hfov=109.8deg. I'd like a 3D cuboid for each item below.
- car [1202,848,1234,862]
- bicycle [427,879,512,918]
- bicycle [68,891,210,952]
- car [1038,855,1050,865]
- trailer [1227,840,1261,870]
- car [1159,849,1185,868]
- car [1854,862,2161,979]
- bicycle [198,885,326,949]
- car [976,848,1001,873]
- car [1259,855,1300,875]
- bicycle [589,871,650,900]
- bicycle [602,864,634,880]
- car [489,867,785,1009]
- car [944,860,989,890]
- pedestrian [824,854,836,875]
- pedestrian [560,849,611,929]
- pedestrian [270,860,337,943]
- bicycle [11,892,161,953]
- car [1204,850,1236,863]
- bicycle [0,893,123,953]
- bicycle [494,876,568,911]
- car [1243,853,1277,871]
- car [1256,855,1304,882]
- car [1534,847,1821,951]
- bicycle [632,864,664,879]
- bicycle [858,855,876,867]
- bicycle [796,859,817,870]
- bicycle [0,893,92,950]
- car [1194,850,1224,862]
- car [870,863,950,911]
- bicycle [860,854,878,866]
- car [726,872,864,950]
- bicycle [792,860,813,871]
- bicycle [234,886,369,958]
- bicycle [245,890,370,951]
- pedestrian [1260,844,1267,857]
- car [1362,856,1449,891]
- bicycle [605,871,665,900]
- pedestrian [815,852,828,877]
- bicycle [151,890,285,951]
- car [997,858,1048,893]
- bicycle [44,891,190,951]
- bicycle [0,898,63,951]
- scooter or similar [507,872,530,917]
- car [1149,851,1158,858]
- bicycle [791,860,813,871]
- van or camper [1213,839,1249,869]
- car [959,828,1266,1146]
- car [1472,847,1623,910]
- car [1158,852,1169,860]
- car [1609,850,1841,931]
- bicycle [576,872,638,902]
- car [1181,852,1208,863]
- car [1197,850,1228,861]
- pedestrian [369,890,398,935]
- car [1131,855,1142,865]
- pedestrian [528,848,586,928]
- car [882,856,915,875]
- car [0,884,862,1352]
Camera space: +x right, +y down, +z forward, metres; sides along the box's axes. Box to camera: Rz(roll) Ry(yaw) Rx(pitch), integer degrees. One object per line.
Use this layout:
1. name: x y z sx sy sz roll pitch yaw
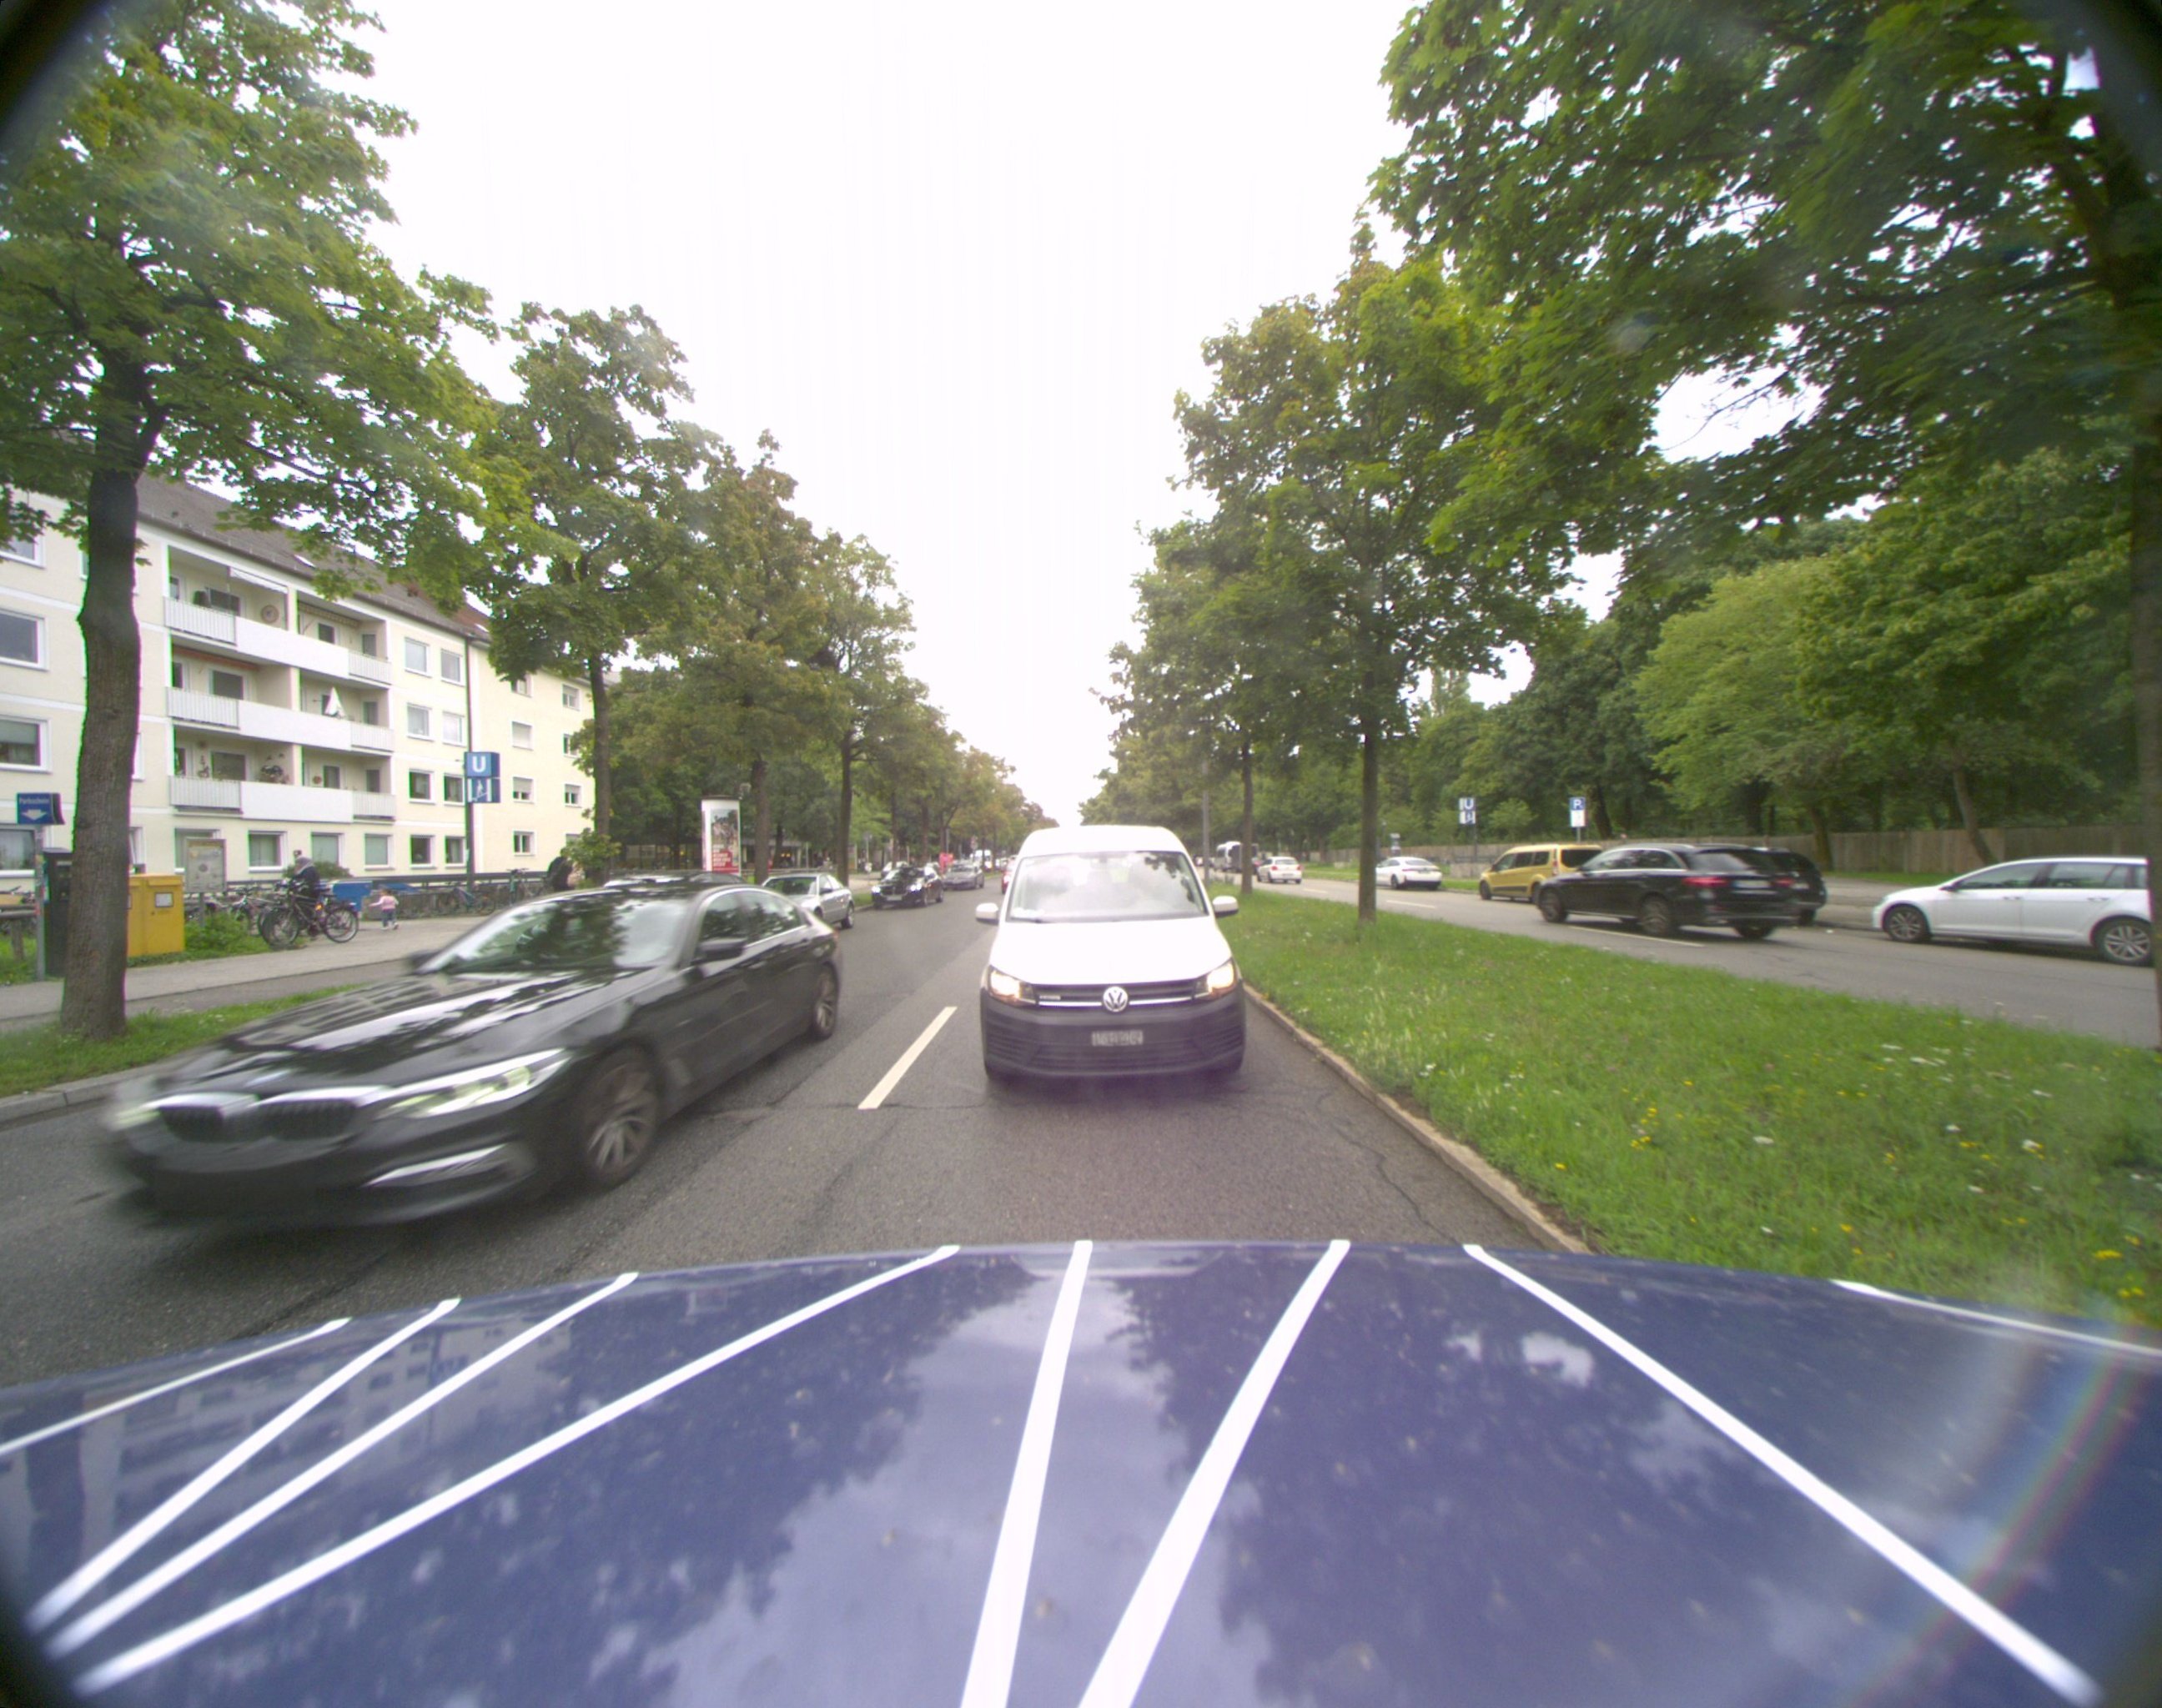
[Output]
1. car: 18.587 0.143 103.016 4.005 1.577 1.798 -3 0 -29
2. bicycle: -16.526 1.206 20.556 1.882 1.022 0.432 0 1 -3
3. bicycle: -18.449 1.292 14.953 0.432 1.022 1.883 0 0 1
4. car: -6.030 0.965 124.705 1.735 1.498 4.441 -3 0 -1
5. trailer: 14.464 0.123 67.800 2.022 2.575 4.658 0 0 0
6. car: 8.316 0.415 69.909 1.908 1.686 4.245 1 0 1
7. car: 14.594 0.868 11.198 1.767 1.441 4.532 0 0 0
8. bicycle: -15.903 1.195 14.830 0.432 1.095 1.883 0 0 1
9. car: -10.228 0.687 84.376 1.978 2.641 6.005 -3 0 0
10. car: 14.464 0.782 55.578 1.805 1.417 4.431 0 0 0
11. bicycle: -16.711 1.135 27.530 1.883 1.022 0.432 0 1 -6
12. bicycle: -28.930 1.151 47.477 1.696 0.965 0.455 -1 0 -4
13. car: -6.044 1.020 11.054 1.721 1.524 4.275 -3 0 0
14. car: -6.162 1.084 41.353 1.686 1.457 4.115 -3 0 1
15. pedestrian: -21.020 0.885 63.546 0.600 1.720 0.642 -2 1 20
16. pedestrian: -11.846 0.818 18.191 0.589 1.879 0.902 -1 1 -1
17. pedestrian: -16.364 0.973 15.999 0.832 1.671 0.843 0 1 37
18. bicycle: -19.432 1.307 14.914 0.432 1.022 1.883 0 0 1
19. car: 18.274 0.300 100.024 4.006 1.477 1.797 -3 0 -34
20. bicycle: -20.153 1.322 14.855 0.432 1.022 1.883 0 0 1
21. bicycle: -16.648 1.186 23.013 1.882 1.022 0.432 0 1 -3
22. car: 14.534 0.646 61.791 1.805 1.376 4.238 0 0 0
23. car: 10.807 0.737 41.499 1.622 1.367 3.837 1 0 0
24. car: 10.686 0.702 14.148 1.771 1.614 4.506 1 0 0
25. bicycle: -27.148 1.093 47.617 1.696 0.965 0.455 -1 0 -4
26. bicycle: -28.785 0.909 102.202 2.313 1.523 0.649 -1 1 0
27. bicycle: -29.258 1.162 80.897 2.080 1.114 0.455 -1 1 0
28. bicycle: -21.080 1.341 15.076 0.432 1.022 1.883 0 0 1
29. car: 18.971 0.291 112.365 4.005 1.446 1.736 -3 0 -27
30. car: -6.036 1.121 27.296 1.755 1.457 4.176 -3 0 1
31. bicycle: -29.090 0.854 104.324 2.313 1.613 0.649 -1 1 0
32. car: -6.297 1.188 17.261 1.640 1.378 4.243 -3 0 -3
33. bicycle: -29.199 1.238 79.693 2.080 1.114 0.455 -1 1 0
34. bicycle: -13.810 1.174 13.537 0.432 1.127 1.884 0 0 1
35. bicycle: -14.756 1.235 14.565 0.432 1.022 1.883 0 0 1
36. pedestrian: 26.402 -0.517 109.748 0.770 1.757 0.873 0 1 -4
37. car: 14.681 0.813 34.702 1.861 1.464 4.874 0 0 0
38. bicycle: -16.478 1.158 28.090 1.883 1.022 0.432 0 1 -8
39. pedestrian: -18.615 0.741 54.412 0.641 1.739 0.849 1 0 -2
40. bicycle: -16.648 1.248 14.731 0.432 1.022 1.883 0 0 1
41. car: -2.657 0.956 35.571 1.889 1.434 4.667 -3 0 1
42. bicycle: -18.937 1.285 14.997 0.432 1.022 1.883 0 0 1
43. bicycle: -22.231 1.455 15.468 0.432 1.022 1.883 0 0 1
44. scooter or similar: -15.952 1.124 21.534 0.359 1.193 1.386 -1 1 -42
45. car: 16.751 0.168 174.774 1.889 1.435 4.169 -2 1 4
46. bicycle: -28.972 1.224 78.812 2.080 1.114 0.455 -1 1 0
47. van or camper: 14.501 -0.003 73.948 2.040 2.821 7.546 0 0 0
48. car: 0.149 0.762 6.695 1.750 1.807 4.667 -1 0 -1
49. car: 14.377 0.683 23.822 1.819 1.772 4.817 0 0 1
50. car: 16.698 0.368 154.201 1.889 1.435 4.169 -2 1 4
51. car: 14.624 0.744 17.633 1.741 1.636 4.255 0 0 0
52. bicycle: -16.627 1.170 26.666 1.882 1.022 0.432 0 1 -3
53. car: 18.127 0.520 121.577 4.006 1.548 1.887 -3 0 -32
54. car: 18.912 0.210 109.315 4.005 1.455 1.888 -3 0 -27
55. pedestrian: -15.192 1.271 16.559 0.410 0.944 0.434 -1 1 -39
56. car: 11.102 1.160 153.410 1.804 1.922 4.993 0 1 -1
57. pedestrian: -12.525 0.787 18.181 0.731 1.879 0.919 0 1 -1
58. car: -16.265 1.021 67.973 1.826 1.624 4.198 0 0 2
59. car: -3.127 1.060 5.085 1.799 1.434 4.668 -3 0 1
